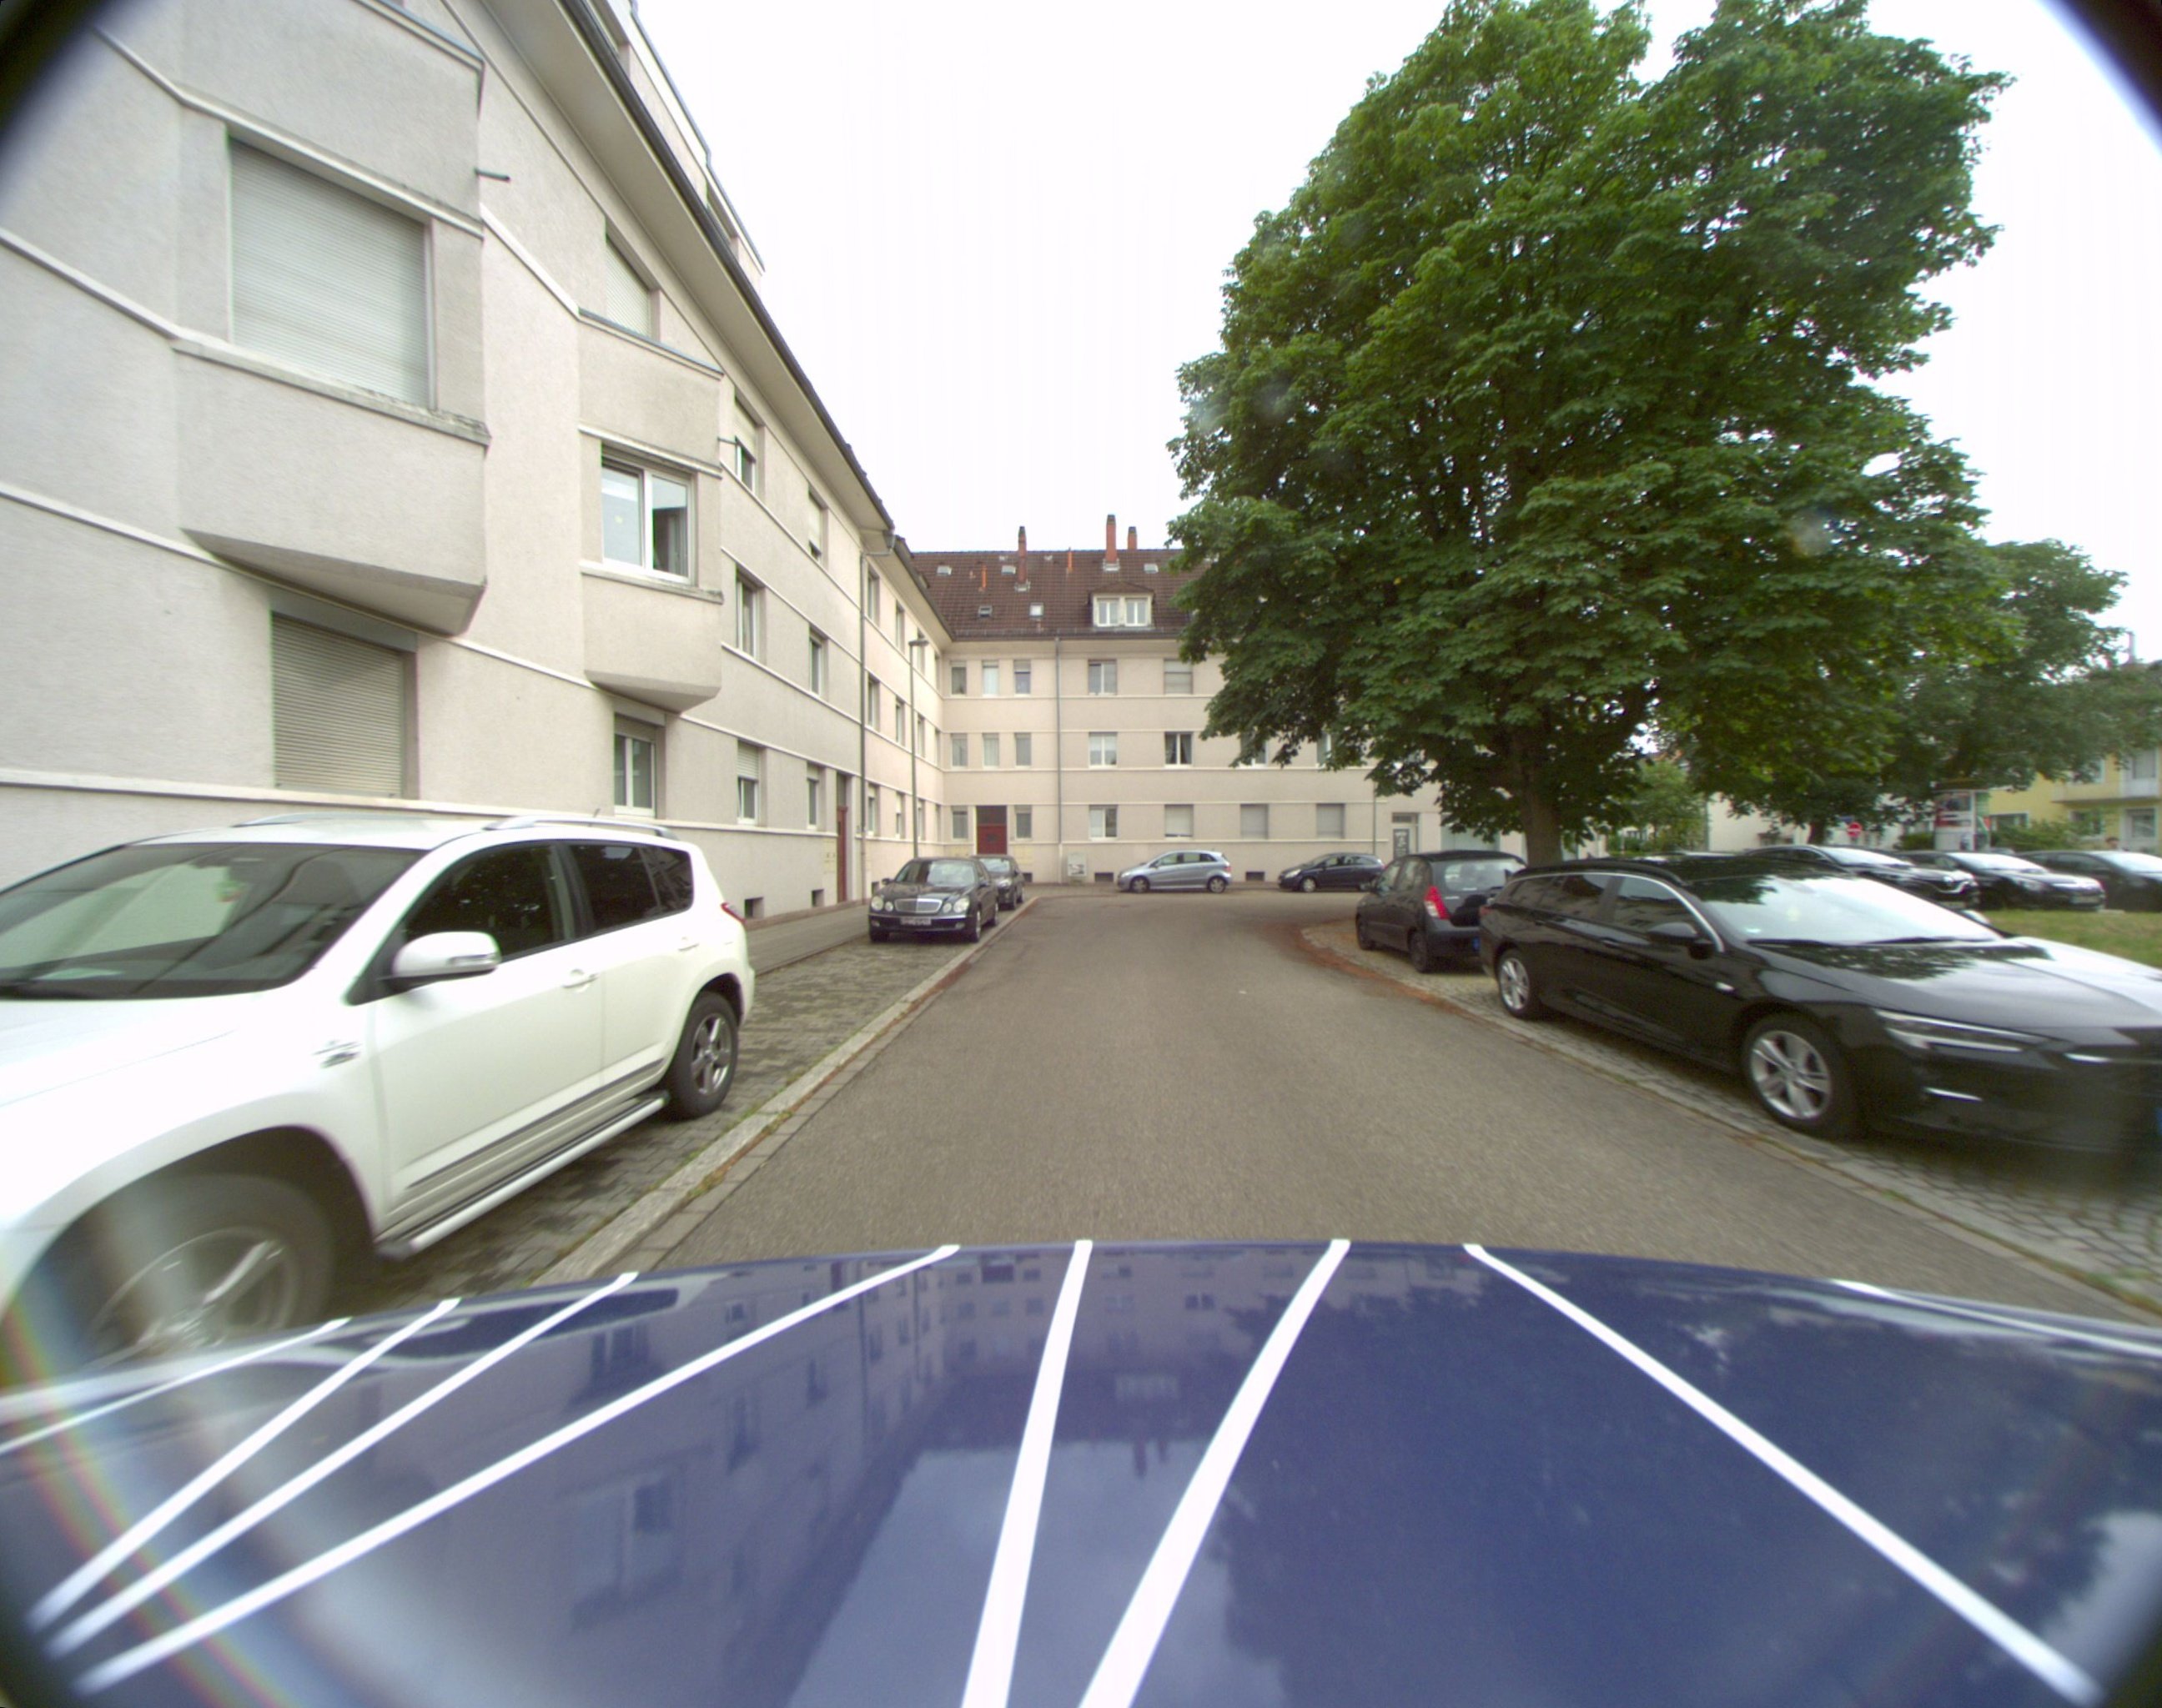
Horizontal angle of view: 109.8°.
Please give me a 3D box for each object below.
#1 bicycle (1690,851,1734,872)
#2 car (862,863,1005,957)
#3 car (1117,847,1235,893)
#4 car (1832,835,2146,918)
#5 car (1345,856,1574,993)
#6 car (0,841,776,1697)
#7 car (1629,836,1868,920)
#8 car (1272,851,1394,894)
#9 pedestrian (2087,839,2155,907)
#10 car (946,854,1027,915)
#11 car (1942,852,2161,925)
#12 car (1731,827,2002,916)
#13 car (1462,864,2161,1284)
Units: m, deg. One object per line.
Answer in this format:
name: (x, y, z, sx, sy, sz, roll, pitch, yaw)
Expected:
bicycle: (32.060, 0.366, 38.637, 0.667, 1.060, 1.884, -1, 0, -2)
car: (-2.549, 0.903, 14.352, 1.749, 1.412, 4.949, 0, 0, 0)
car: (3.478, 0.573, 28.265, 4.195, 1.618, 1.763, -1, 0, 4)
car: (19.363, 0.453, 16.595, 1.839, 1.556, 4.359, -1, -1, 5)
car: (4.977, 0.823, 10.547, 1.528, 1.485, 3.592, -3, 0, 4)
car: (-3.039, 0.795, 3.161, 1.847, 1.664, 4.289, 1, 0, -1)
car: (13.863, 0.434, 16.130, 1.829, 1.568, 3.843, 0, 1, 4)
car: (9.298, 0.664, 28.231, 3.933, 1.481, 1.762, -1, 0, 1)
pedestrian: (28.872, 0.508, 21.090, 1.221, 1.825, 0.877, -1, 1, -25)
car: (-2.523, 0.767, 21.157, 1.761, 1.516, 4.078, 0, 0, 0)
car: (22.797, 0.705, 17.125, 1.839, 1.455, 4.562, -1, -1, 5)
car: (16.816, 0.371, 16.632, 1.914, 1.687, 4.070, -1, -1, 5)
car: (4.776, 0.886, 5.329, 1.872, 1.456, 4.834, -3, 0, 2)
